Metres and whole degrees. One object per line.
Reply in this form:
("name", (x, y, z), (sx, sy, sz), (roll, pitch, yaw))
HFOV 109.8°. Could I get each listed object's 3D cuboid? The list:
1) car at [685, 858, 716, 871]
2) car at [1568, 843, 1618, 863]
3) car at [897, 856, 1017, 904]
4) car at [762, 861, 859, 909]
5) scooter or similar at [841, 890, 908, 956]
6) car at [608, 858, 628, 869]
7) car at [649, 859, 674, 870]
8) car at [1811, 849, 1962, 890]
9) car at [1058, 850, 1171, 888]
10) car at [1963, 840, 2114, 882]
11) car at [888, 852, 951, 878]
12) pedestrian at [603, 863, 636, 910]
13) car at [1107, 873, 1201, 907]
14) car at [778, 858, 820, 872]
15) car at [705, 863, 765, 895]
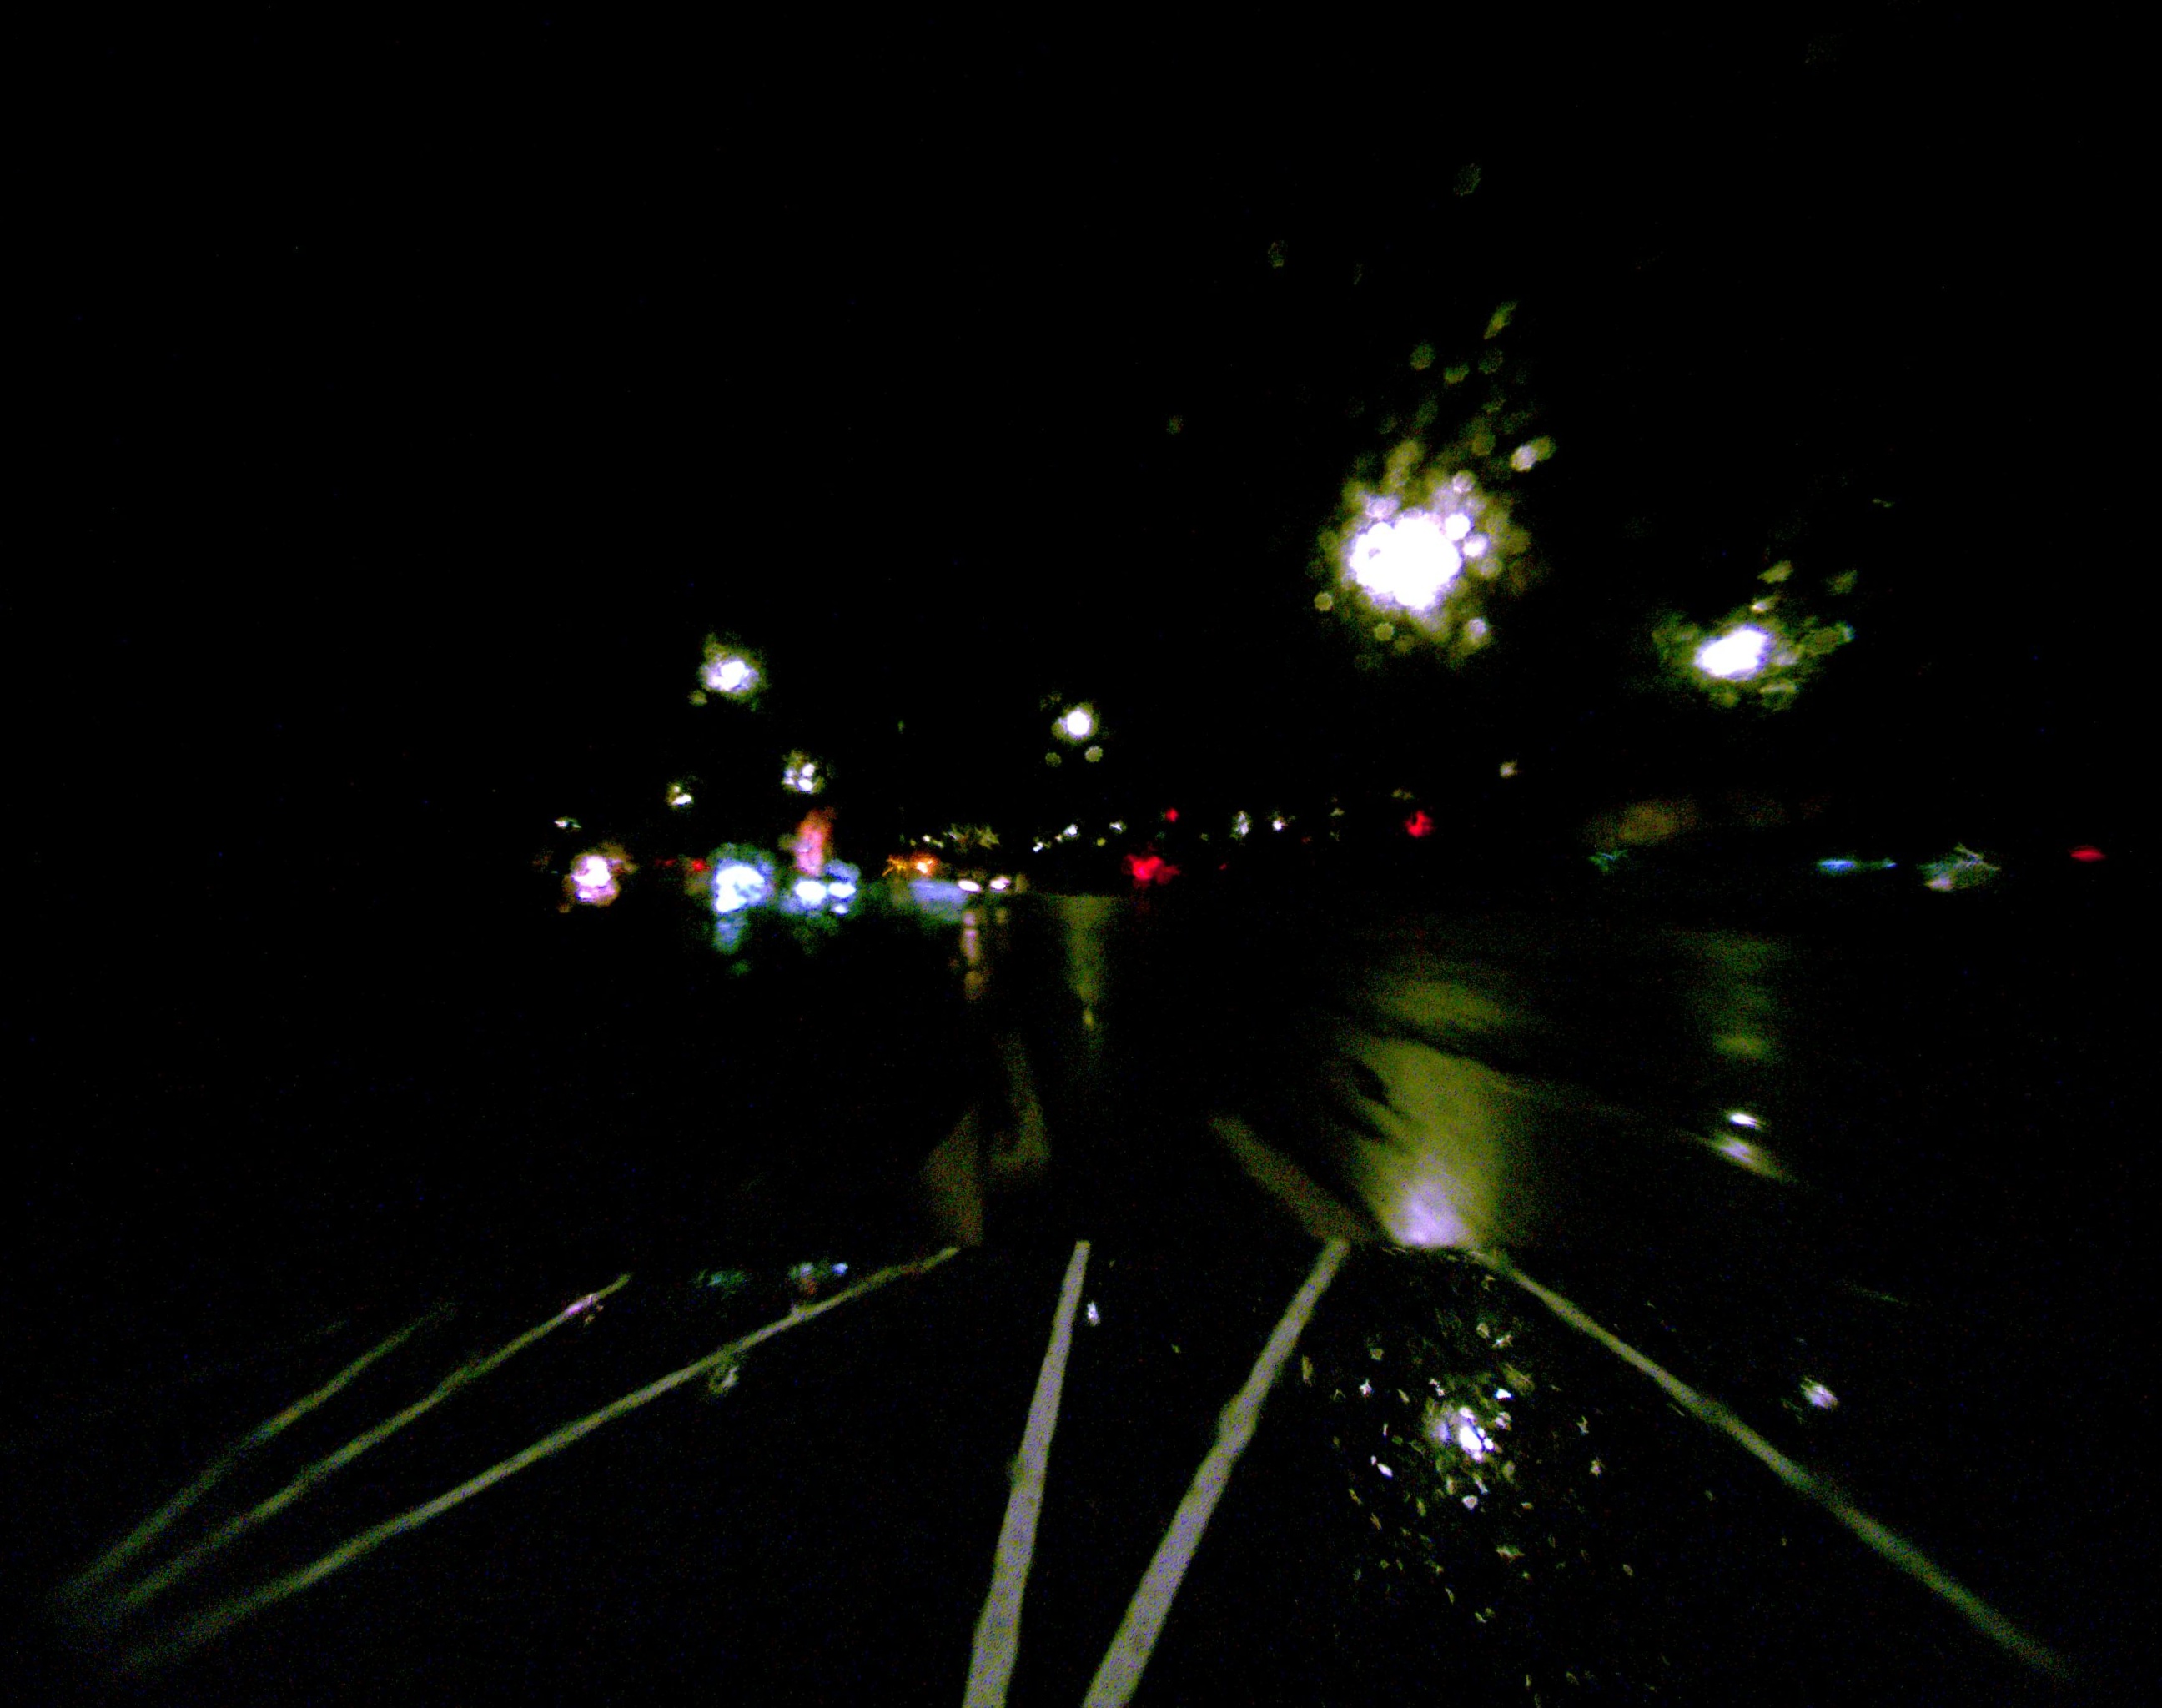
("car", (-45.320, 1.224, 90.542), (4.646, 1.456, 1.838), (-1, 2, 45))
("car", (42.553, -0.135, 63.259), (1.677, 1.521, 4.000), (-2, 1, 4))
("car", (-4.615, 0.886, 27.751), (1.838, 1.518, 4.860), (-3, 2, -43))
("car", (-10.846, 1.157, 30.277), (1.955, 1.709, 4.429), (-3, 2, -43))
("scooter or similar", (-3.577, 1.186, 13.179), (1.105, 1.091, 0.317), (0, 1, -16))
("car", (-79.592, 1.656, 130.571), (1.838, 1.704, 4.428), (-3, 2, -44))
("car", (-55.956, 1.373, 101.369), (3.988, 1.456, 1.838), (-1, 2, 44))
("car", (30.089, 0.543, 28.447), (3.946, 1.365, 1.829), (-2, 1, -5))
("car", (1.616, 0.729, 37.123), (5.117, 1.722, 2.066), (-1, 1, 31))
("car", (49.437, 0.334, 39.373), (2.001, 2.002, 4.415), (-2, 1, -16))
("car", (-11.843, 0.792, 55.414), (2.074, 1.706, 5.026), (-3, 2, -45))
("pedestrian", (-15.162, 1.051, 24.961), (0.729, 1.477, 0.833), (-3, 2, -44))
("car", (4.127, 2.002, 43.702), (5.026, 1.706, 2.074), (-1, 2, 39))
("car", (-28.868, 1.112, 77.717), (2.004, 1.394, 5.334), (-3, 2, -45))
("car", (-20.091, 1.390, 43.999), (1.838, 1.696, 4.182), (-3, 2, -43))
